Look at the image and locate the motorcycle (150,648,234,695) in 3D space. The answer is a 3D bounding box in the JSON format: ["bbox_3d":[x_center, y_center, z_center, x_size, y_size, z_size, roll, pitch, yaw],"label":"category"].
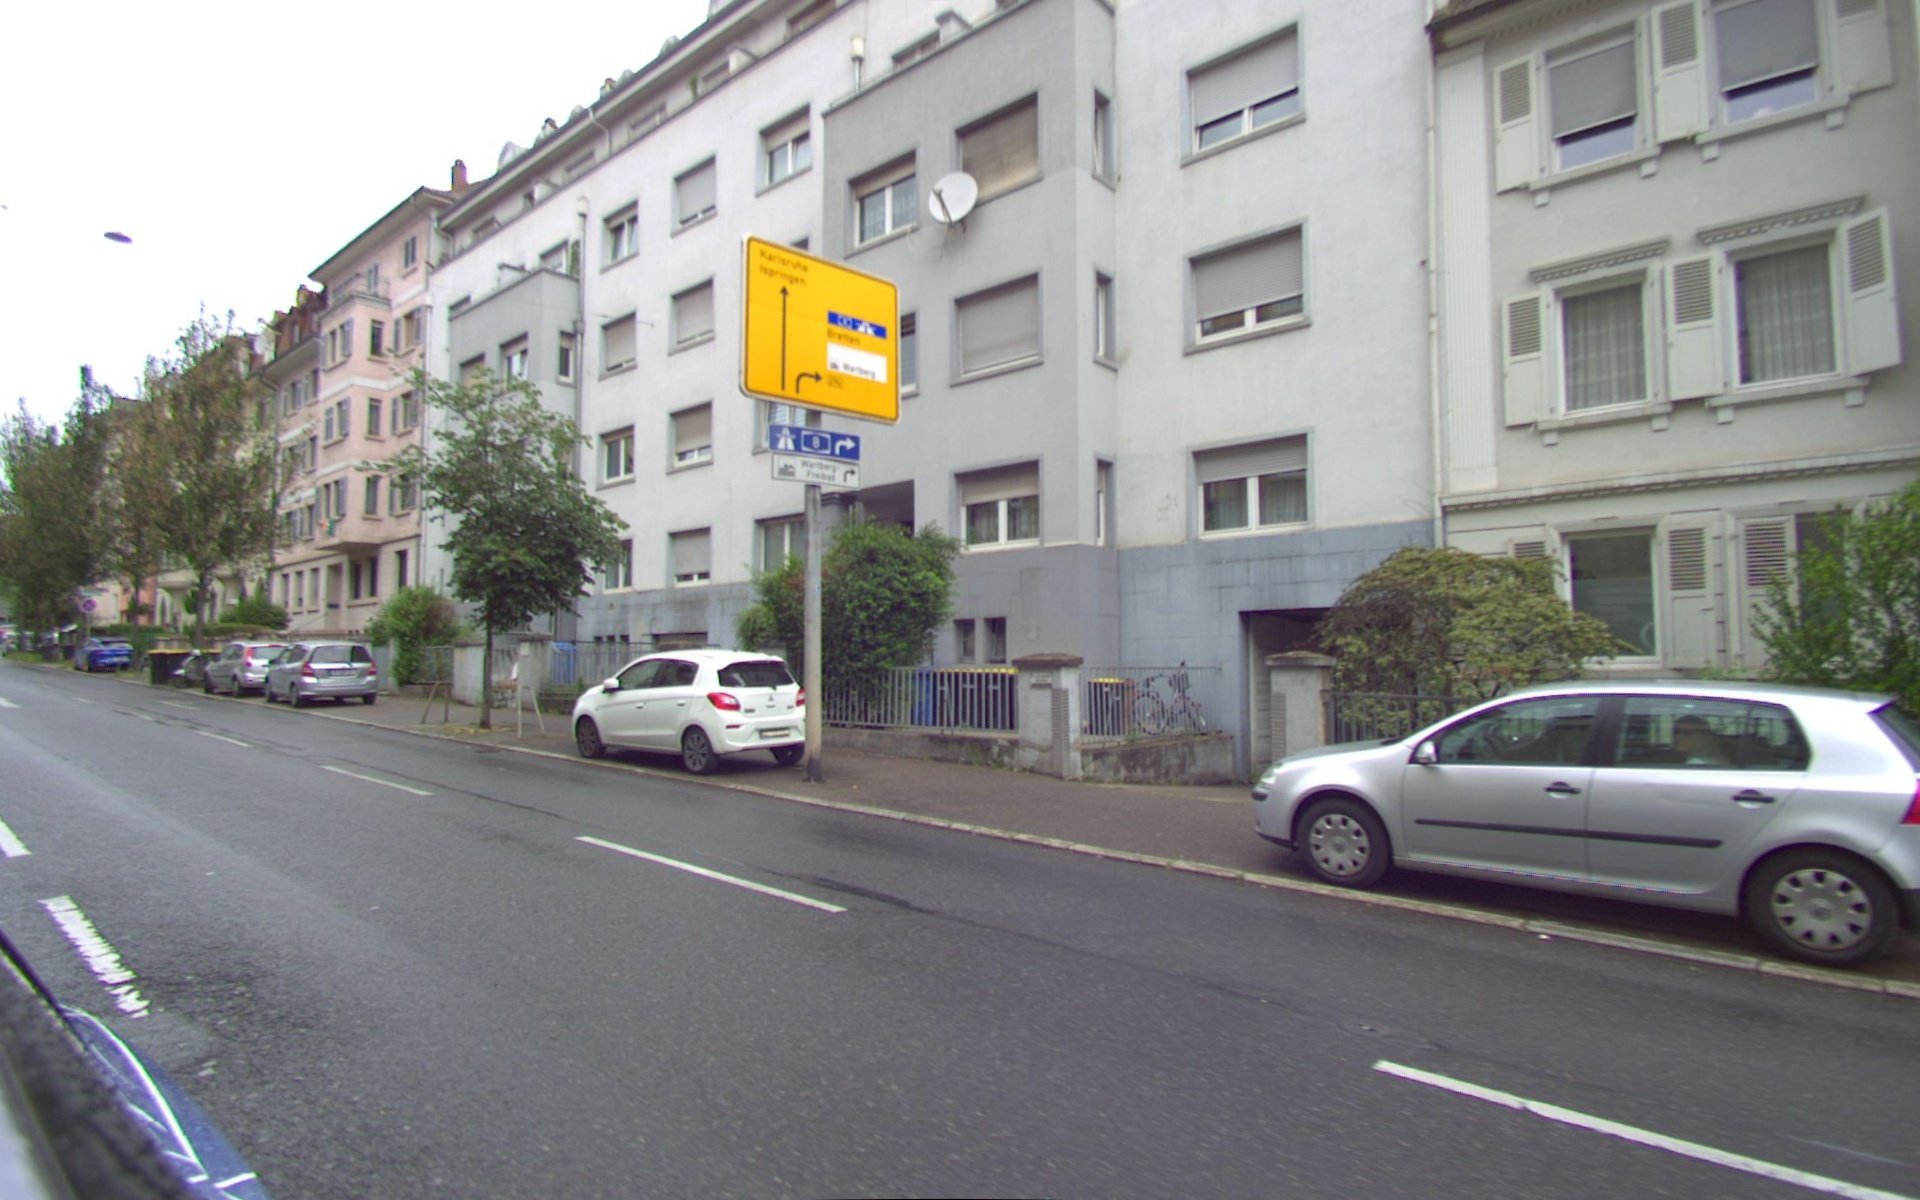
[{"bbox_3d":[-22.699,2.102,29.928,1.783,1.325,0.743,2,-4,-7],"label":"motorcycle"}]

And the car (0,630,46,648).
[{"bbox_3d":[-88.789,3.657,95.220,1.592,1.634,3.877,-1,-4,41],"label":"car"}]

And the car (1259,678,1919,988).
[{"bbox_3d":[4.173,1.282,6.651,3.908,1.401,1.665,-2,-3,42],"label":"car"}]

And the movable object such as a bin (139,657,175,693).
[{"bbox_3d":[-25.132,2.328,31.674,0.483,1.066,0.816,-1,-1,42],"label":"movable object such as a bin"}]

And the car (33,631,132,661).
[{"bbox_3d":[-58.070,3.025,67.048,1.917,1.919,4.672,0,-2,39],"label":"car"}]

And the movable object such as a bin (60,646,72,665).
[{"bbox_3d":[-43.958,2.716,49.753,0.572,0.918,0.360,-1,-2,41],"label":"movable object such as a bin"}]

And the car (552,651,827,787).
[{"bbox_3d":[-3.682,1.469,13.499,3.793,1.519,1.629,-2,-4,40],"label":"car"}]

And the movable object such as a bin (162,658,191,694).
[{"bbox_3d":[-24.078,2.322,31.091,0.480,1.066,0.522,0,-1,19],"label":"movable object such as a bin"}]

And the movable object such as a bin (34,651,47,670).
[{"bbox_3d":[-44.589,2.910,49.081,0.572,0.896,0.360,-2,-2,40],"label":"movable object such as a bin"}]

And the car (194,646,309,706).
[{"bbox_3d":[-19.098,1.996,27.227,3.885,1.407,1.584,0,-3,40],"label":"car"}]

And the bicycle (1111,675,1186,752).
[{"bbox_3d":[2.904,1.718,15.531,0.484,1.098,1.406,-2,-4,41],"label":"bicycle"}]

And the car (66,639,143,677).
[{"bbox_3d":[-34.713,2.341,41.026,4.600,1.396,1.661,-2,-5,41],"label":"car"}]

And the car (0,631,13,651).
[{"bbox_3d":[-91.813,3.788,95.055,1.865,1.861,3.881,-1,-4,39],"label":"car"}]

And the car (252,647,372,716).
[{"bbox_3d":[-15.465,1.883,24.082,3.889,1.462,1.582,-2,-3,45],"label":"car"}]

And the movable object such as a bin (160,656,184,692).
[{"bbox_3d":[-24.544,2.298,31.524,0.482,1.066,0.467,0,-1,32],"label":"movable object such as a bin"}]

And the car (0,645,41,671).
[{"bbox_3d":[-56.055,3.405,60.091,4.136,1.428,1.663,-1,-5,41],"label":"car"}]

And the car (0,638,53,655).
[{"bbox_3d":[-81.181,4.037,87.512,1.646,1.307,3.877,-1,-4,41],"label":"car"}]
